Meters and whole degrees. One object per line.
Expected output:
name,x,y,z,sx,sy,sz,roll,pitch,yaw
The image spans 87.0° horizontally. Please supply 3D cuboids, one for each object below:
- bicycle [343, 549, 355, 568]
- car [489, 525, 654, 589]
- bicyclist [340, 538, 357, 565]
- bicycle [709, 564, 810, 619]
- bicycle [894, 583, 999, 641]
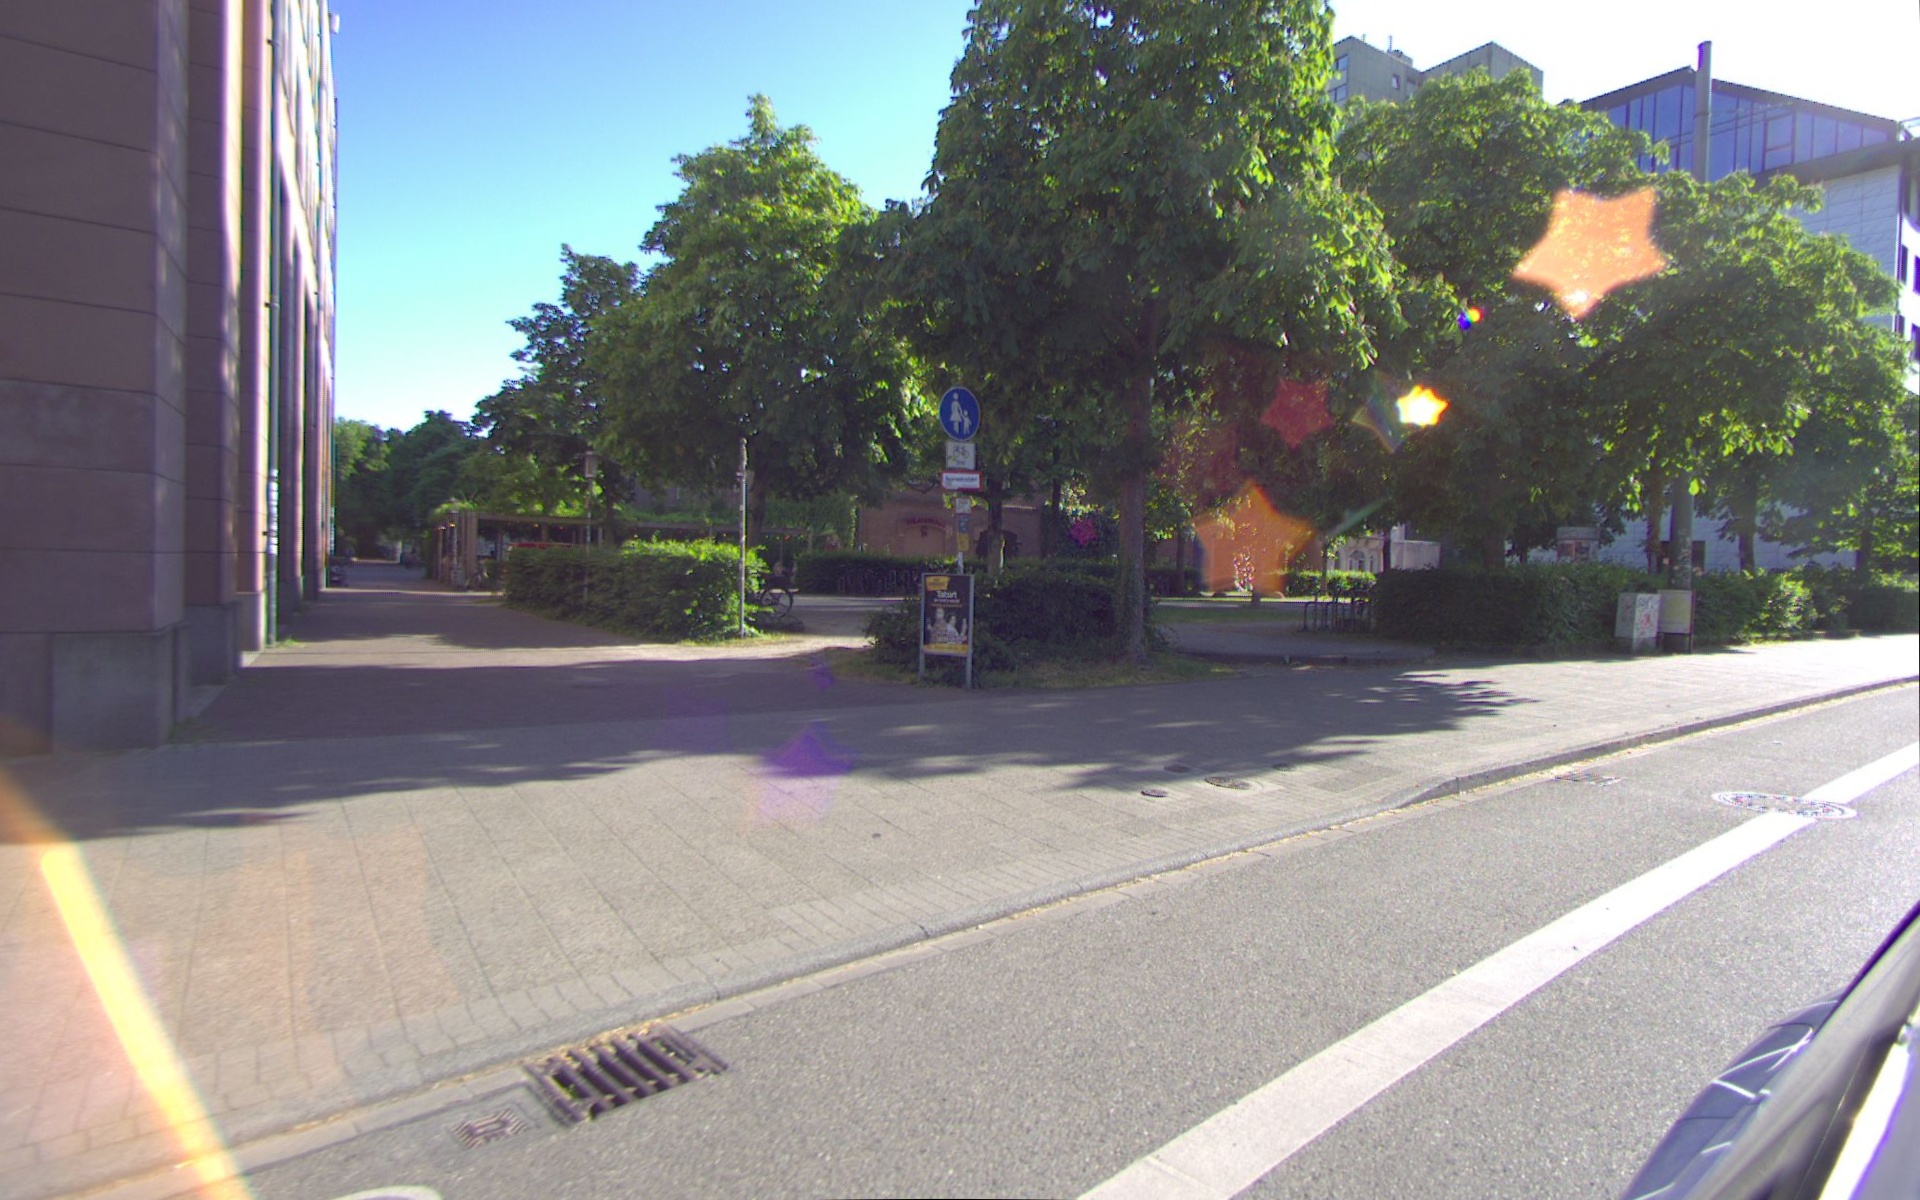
bicycle,-45.569,-3.069,75.503,0.703,1.331,2.897,-1,1,-30
car,-13.120,-1.418,34.423,5.113,2.038,1.230,-1,2,-40
bicyclist,-45.609,-3.613,75.523,1.024,1.996,1.561,-1,0,-29
bicycle,-4.292,-0.200,21.705,2.087,1.144,0.453,-1,0,-18
bicycle,-0.223,0.169,15.664,1.660,0.872,0.318,0,0,27
